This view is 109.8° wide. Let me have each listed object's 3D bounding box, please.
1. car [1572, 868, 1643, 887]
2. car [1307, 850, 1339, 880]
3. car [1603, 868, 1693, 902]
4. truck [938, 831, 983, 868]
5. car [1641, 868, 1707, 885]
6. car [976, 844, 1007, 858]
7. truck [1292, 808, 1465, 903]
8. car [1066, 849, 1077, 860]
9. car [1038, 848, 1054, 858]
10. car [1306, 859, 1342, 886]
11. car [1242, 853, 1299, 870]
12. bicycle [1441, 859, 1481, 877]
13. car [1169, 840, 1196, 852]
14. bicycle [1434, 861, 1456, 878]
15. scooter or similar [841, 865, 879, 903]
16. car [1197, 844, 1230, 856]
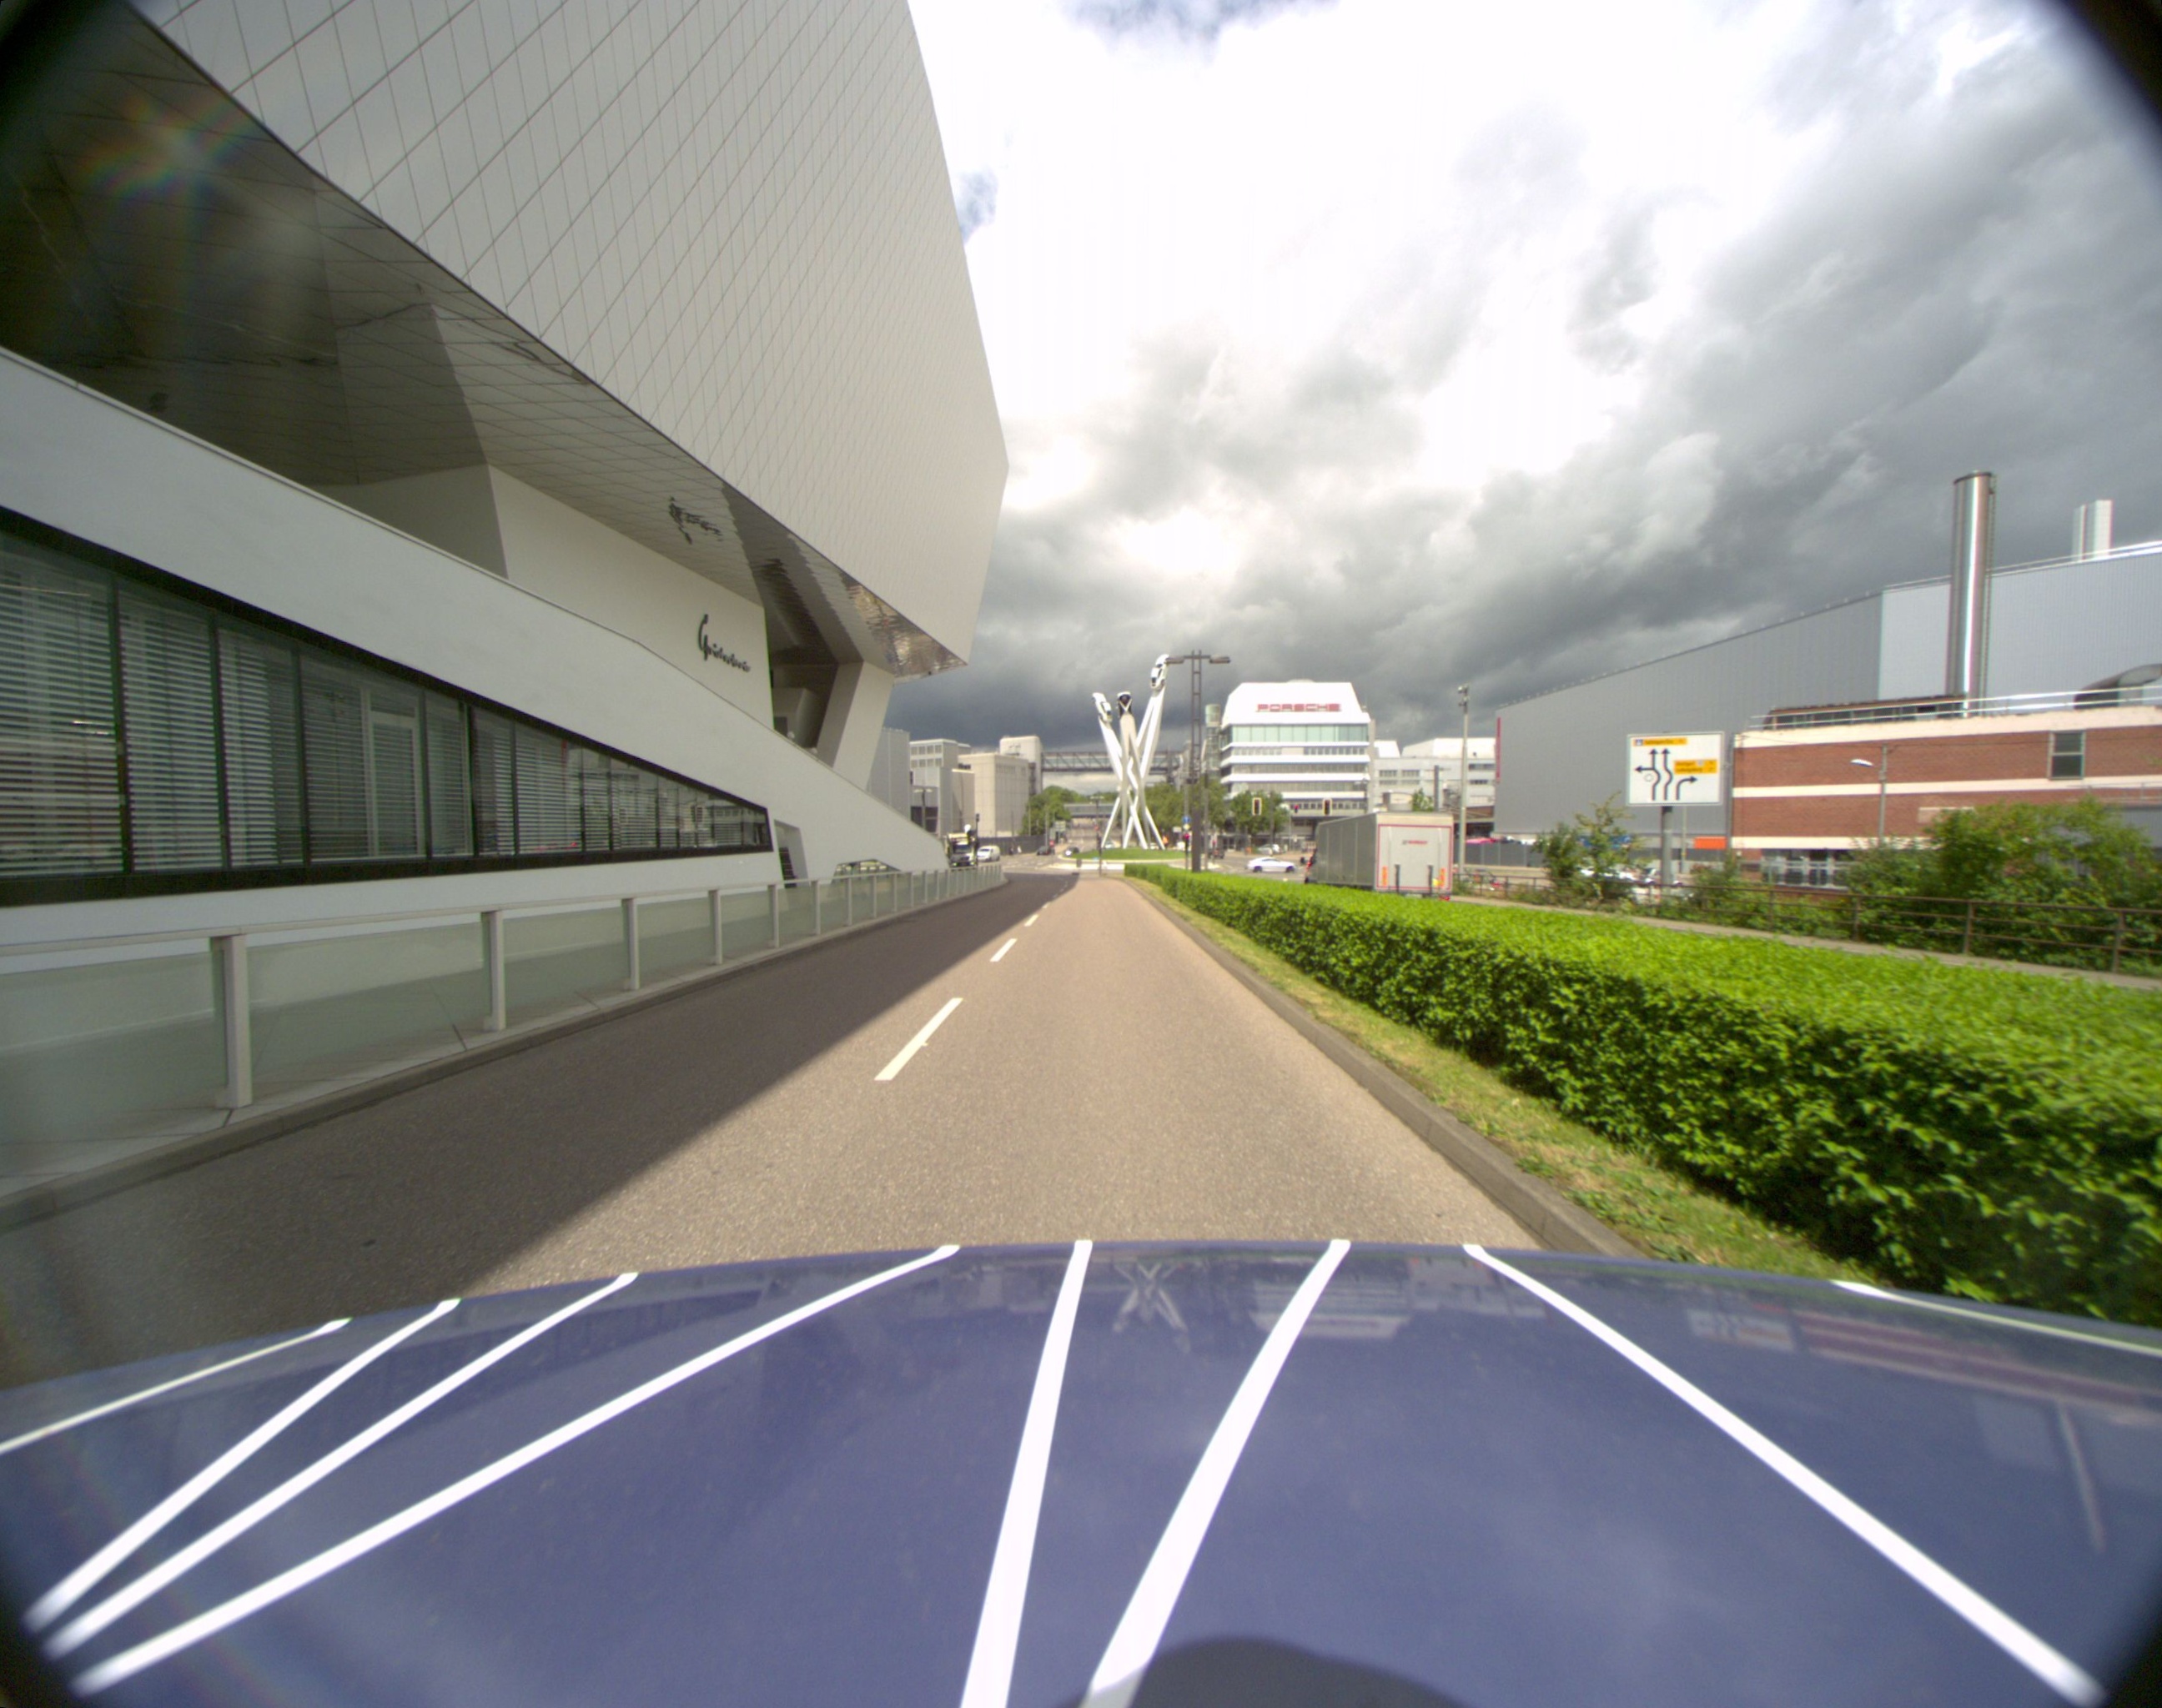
[{"bbox_3d":[39.881,1.770,57.618,4.182,1.362,1.622,0,1,9],"label":"car"},{"bbox_3d":[16.630,0.721,52.073,1.996,1.947,4.634,0,1,18],"label":"car"},{"bbox_3d":[33.010,1.761,44.379,3.989,1.850,1.754,0,1,29],"label":"car"},{"bbox_3d":[-12.973,-0.514,80.917,2.848,3.669,10.734,-1,1,-19],"label":"truck"},{"bbox_3d":[44.529,1.687,57.102,3.614,1.235,1.469,0,1,9],"label":"car"},{"bbox_3d":[-12.033,-0.429,102.299,2.160,1.899,5.311,0,1,17],"label":"car"},{"bbox_3d":[10.289,0.168,27.621,2.862,2.840,9.380,0,-1,2],"label":"truck"},{"bbox_3d":[-1.366,0.015,114.301,1.586,1.630,3.803,0,0,1],"label":"car"},{"bbox_3d":[-5.599,-0.129,122.008,1.830,1.555,4.003,0,1,11],"label":"car"},{"bbox_3d":[14.465,1.037,45.358,1.798,1.414,4.497,1,1,15],"label":"car"},{"bbox_3d":[17.204,0.701,69.007,4.778,1.477,2.050,0,1,5],"label":"car"},{"bbox_3d":[20.797,0.769,41.550,1.950,0.983,0.621,0,0,-8],"label":"bicycle"},{"bbox_3d":[16.485,-1.331,123.055,2.003,1.819,4.390,-1,1,-32],"label":"car"},{"bbox_3d":[21.901,0.940,45.765,0.520,0.983,1.950,0,0,4],"label":"bicycle"},{"bbox_3d":[-7.738,1.025,26.677,0.708,1.236,1.952,-1,1,0],"label":"scooter or similar"},{"bbox_3d":[18.452,-0.535,105.893,4.184,1.686,1.958,0,1,44],"label":"car"}]
